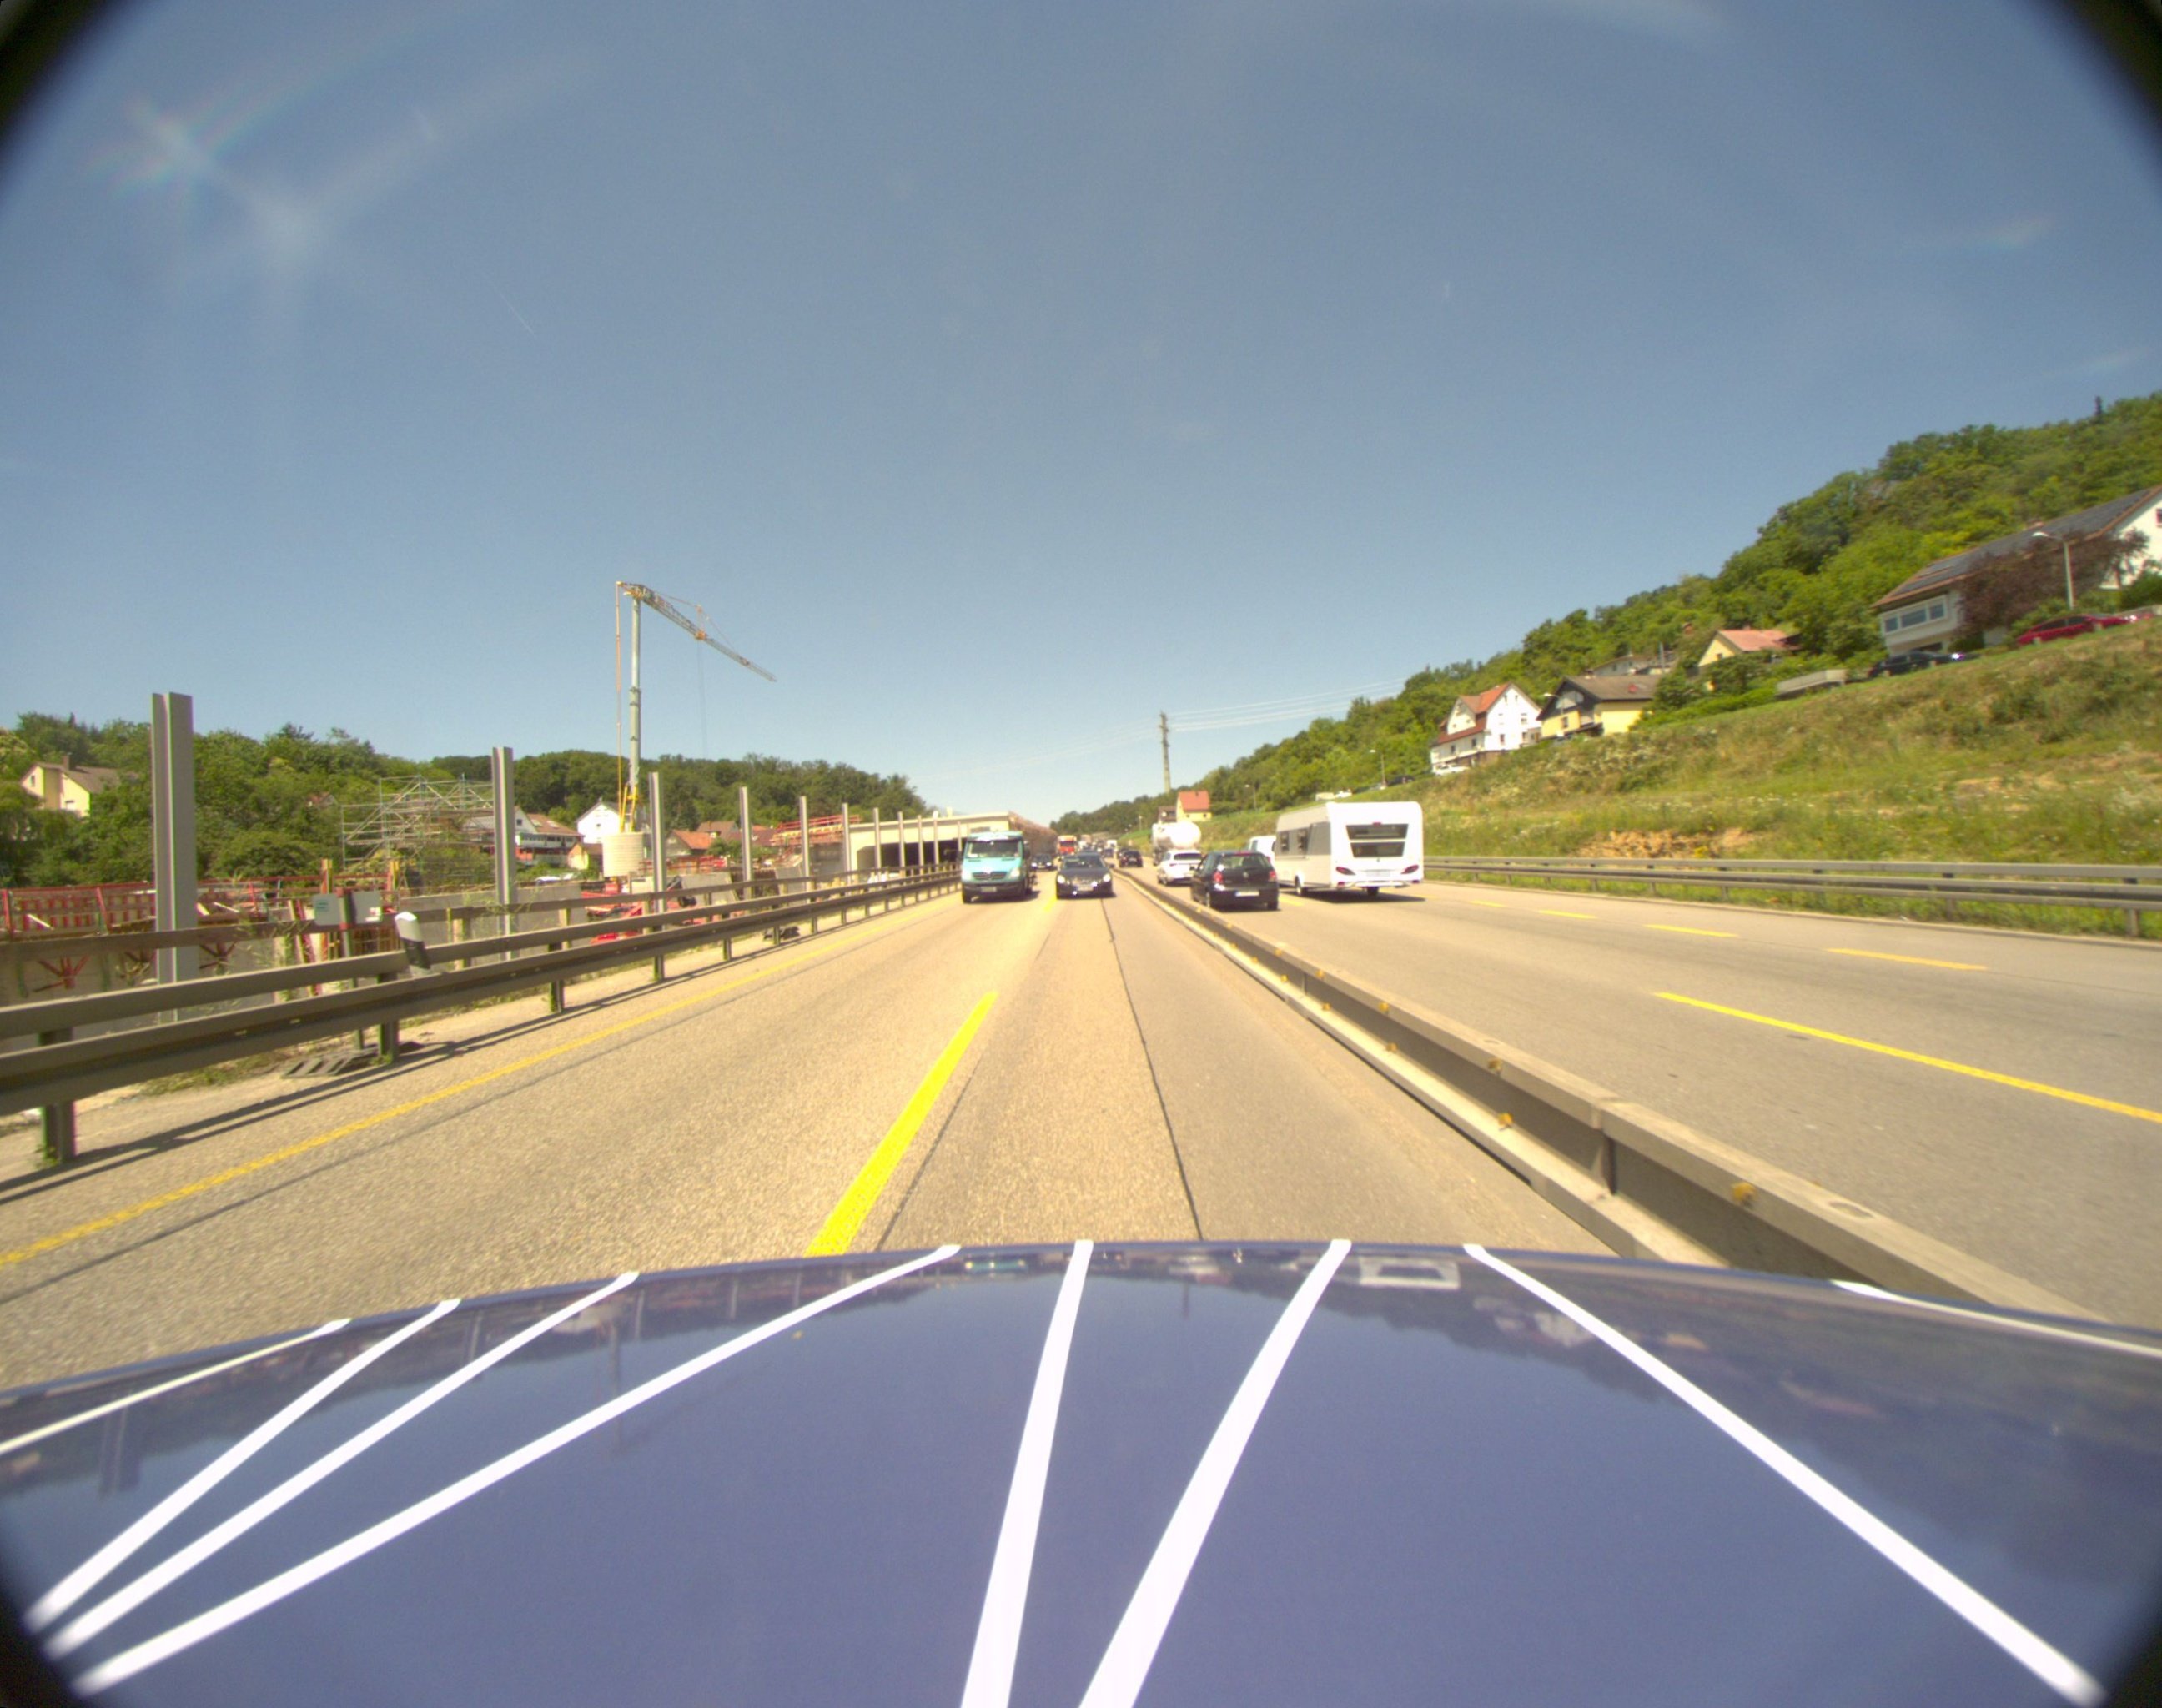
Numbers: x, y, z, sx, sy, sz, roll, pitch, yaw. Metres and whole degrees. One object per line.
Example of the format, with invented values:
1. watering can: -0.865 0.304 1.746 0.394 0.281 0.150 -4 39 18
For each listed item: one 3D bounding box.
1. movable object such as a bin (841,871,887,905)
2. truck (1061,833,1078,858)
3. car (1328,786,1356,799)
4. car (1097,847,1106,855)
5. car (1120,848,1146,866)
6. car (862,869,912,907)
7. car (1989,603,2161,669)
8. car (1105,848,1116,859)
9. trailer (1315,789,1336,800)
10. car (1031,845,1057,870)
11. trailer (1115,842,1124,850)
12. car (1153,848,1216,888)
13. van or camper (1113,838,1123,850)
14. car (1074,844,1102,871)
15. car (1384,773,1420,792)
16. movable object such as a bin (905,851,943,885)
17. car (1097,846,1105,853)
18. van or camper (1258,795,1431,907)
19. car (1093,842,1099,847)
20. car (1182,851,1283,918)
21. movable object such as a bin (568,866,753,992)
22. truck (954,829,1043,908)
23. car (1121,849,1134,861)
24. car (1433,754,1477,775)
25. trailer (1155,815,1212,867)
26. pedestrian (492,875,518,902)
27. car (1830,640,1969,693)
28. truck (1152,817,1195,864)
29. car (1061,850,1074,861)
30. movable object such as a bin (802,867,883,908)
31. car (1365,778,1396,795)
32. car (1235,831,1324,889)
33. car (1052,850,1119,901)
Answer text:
1. movable object such as a bin: -19.976 3.065 70.245 2.149 2.661 5.500 -2 2 5
2. truck: -1.968 -1.607 137.030 2.750 4.222 9.092 -2 2 0
3. car: 38.427 -9.070 111.926 2.000 1.646 4.548 -3 2 -9
4. car: 4.203 -0.637 156.844 1.802 1.458 4.354 -1 1 0
5. car: 4.346 0.194 64.098 1.899 1.406 4.679 -2 1 1
6. car: -17.216 2.941 67.919 2.149 2.840 7.022 -2 2 4
7. car: 45.983 -9.966 35.046 2.354 1.784 4.798 -2 2 -3
8. car: 5.180 -0.104 133.926 1.850 1.767 4.881 -2 1 0
9. trailer: 37.653 -9.196 117.110 1.908 1.507 3.034 -3 2 -10
10. car: -2.983 0.251 62.433 1.885 1.806 4.249 -2 2 0
11. trailer: 10.224 -2.151 203.761 2.107 1.883 5.140 -2 1 0
12. car: 4.181 0.506 31.395 1.917 1.471 4.635 -2 1 0
13. van or camper: 10.229 -2.812 209.652 2.297 3.049 6.923 -2 1 0
14. car: 0.561 0.218 56.131 1.884 1.806 4.250 -2 2 2
15. car: 40.632 -8.999 96.373 2.077 1.997 4.969 -2 2 -5
16. movable object such as a bin: -20.757 1.763 101.202 2.961 4.040 9.152 -2 2 0
17. car: 4.578 -1.051 175.309 1.811 1.630 4.171 -2 1 0
18. van or camper: 7.334 -0.112 22.407 2.363 2.661 7.857 -2 1 0
19. car: 4.854 -3.109 250.985 1.842 1.817 5.039 -2 1 0
20. car: 3.629 0.673 18.834 1.670 1.405 3.817 -2 1 0
21. movable object such as a bin: -19.666 3.219 36.626 3.235 4.716 9.652 -2 2 0
22. truck: -2.697 0.329 26.866 2.139 2.344 7.431 -2 2 1
23. car: 7.247 0.144 118.511 1.832 1.756 4.496 -1 1 0
24. car: 41.550 -9.921 84.575 1.999 1.784 5.007 -2 2 -6
25. trailer: 7.776 -0.993 59.385 2.723 3.573 11.792 -2 1 0
26. pedestrian: -44.841 2.694 59.135 1.140 1.976 0.972 -2 2 4
27. car: 44.201 -10.087 41.210 2.185 1.784 4.759 -2 2 -6
28. truck: 7.727 -1.135 64.169 2.786 3.651 6.276 -2 1 0
29. car: -2.117 0.180 116.989 1.883 1.533 4.280 -2 2 0
30. movable object such as a bin: -24.943 3.534 79.513 7.141 2.883 3.503 -11 -2 23
31. car: 39.933 -8.997 101.466 1.999 1.861 4.427 -2 2 -5
32. car: 7.434 0.182 29.021 1.998 1.959 5.342 -2 1 1
33. car: 0.182 0.657 25.754 1.998 1.441 4.600 -2 1 1
